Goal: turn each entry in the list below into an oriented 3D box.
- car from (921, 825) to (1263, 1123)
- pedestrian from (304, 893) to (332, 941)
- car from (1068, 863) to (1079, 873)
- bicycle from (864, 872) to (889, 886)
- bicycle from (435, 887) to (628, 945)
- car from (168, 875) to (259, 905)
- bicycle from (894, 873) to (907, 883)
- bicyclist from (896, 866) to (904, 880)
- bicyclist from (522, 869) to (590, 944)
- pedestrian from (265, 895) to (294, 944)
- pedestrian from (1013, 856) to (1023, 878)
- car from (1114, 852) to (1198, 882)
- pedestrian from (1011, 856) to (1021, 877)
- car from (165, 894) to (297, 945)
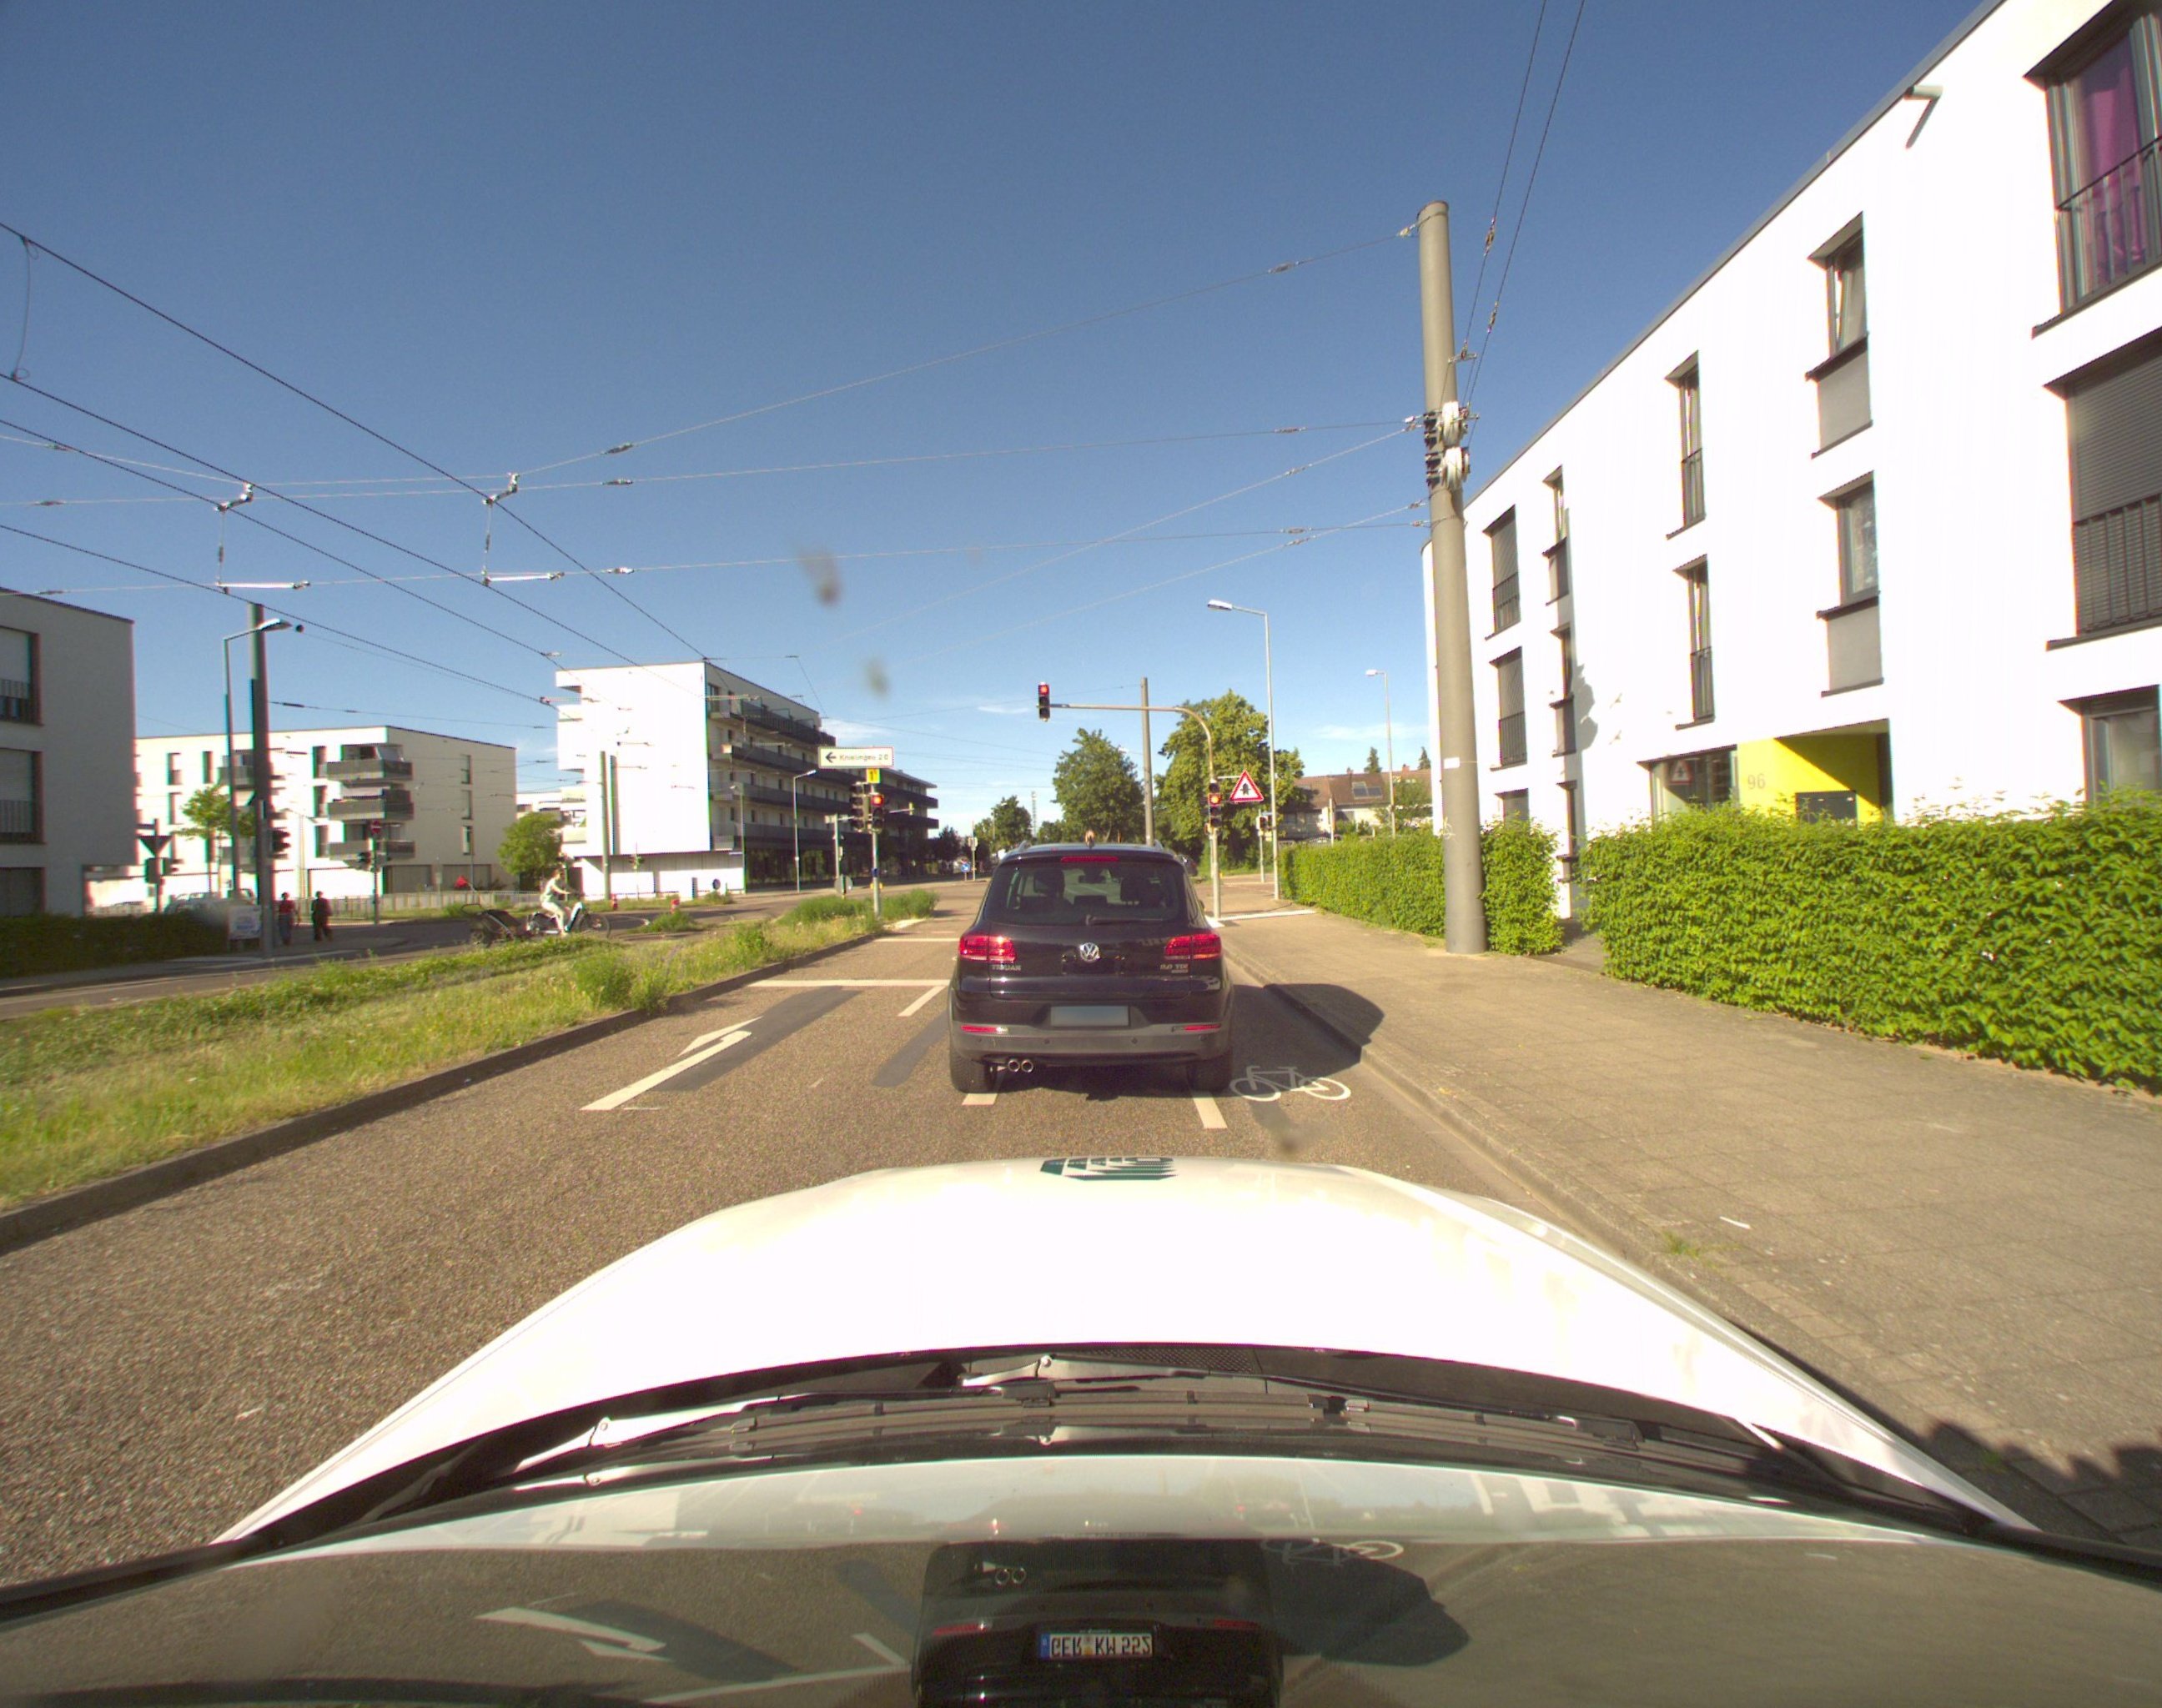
[{"bbox_3d":[0.086,0.677,6.585,1.899,1.643,4.000,-1,0,0],"label":"car"},{"bbox_3d":[-24.410,2.015,26.072,0.561,1.464,0.605,-1,0,-36],"label":"pedestrian"},{"bbox_3d":[-1.356,2.469,143.984,1.648,1.640,4.004,-1,0,4],"label":"car"},{"bbox_3d":[-16.338,1.993,65.062,0.958,1.085,1.845,-1,0,25],"label":"bicycle"},{"bbox_3d":[-12.482,1.398,18.591,3.670,1.174,0.999,1,0,0],"label":"bicycle"},{"bbox_3d":[-58.714,2.430,55.177,3.974,1.838,2.000,-1,0,0],"label":"car"},{"bbox_3d":[-16.491,2.213,74.377,0.493,0.848,2.082,-1,0,6],"label":"bicycle"},{"bbox_3d":[-16.499,1.738,74.331,0.472,1.223,0.713,-1,0,5],"label":"bicyclist"},{"bbox_3d":[-11.963,1.168,18.592,0.907,1.630,0.976,-1,0,-1],"label":"bicyclist"},{"bbox_3d":[-25.171,2.058,25.583,0.562,1.464,0.734,-1,0,-40],"label":"pedestrian"},{"bbox_3d":[-4.653,0.948,60.022,0.600,1.640,0.530,-1,0,6],"label":"pedestrian"},{"bbox_3d":[4.097,0.694,44.454,4.474,1.504,2.003,-1,0,6],"label":"car"},{"bbox_3d":[-4.725,0.920,59.430,0.600,1.565,0.530,-1,0,6],"label":"pedestrian"},{"bbox_3d":[-33.733,2.577,32.373,3.478,1.652,1.593,-4,0,1],"label":"car"}]
